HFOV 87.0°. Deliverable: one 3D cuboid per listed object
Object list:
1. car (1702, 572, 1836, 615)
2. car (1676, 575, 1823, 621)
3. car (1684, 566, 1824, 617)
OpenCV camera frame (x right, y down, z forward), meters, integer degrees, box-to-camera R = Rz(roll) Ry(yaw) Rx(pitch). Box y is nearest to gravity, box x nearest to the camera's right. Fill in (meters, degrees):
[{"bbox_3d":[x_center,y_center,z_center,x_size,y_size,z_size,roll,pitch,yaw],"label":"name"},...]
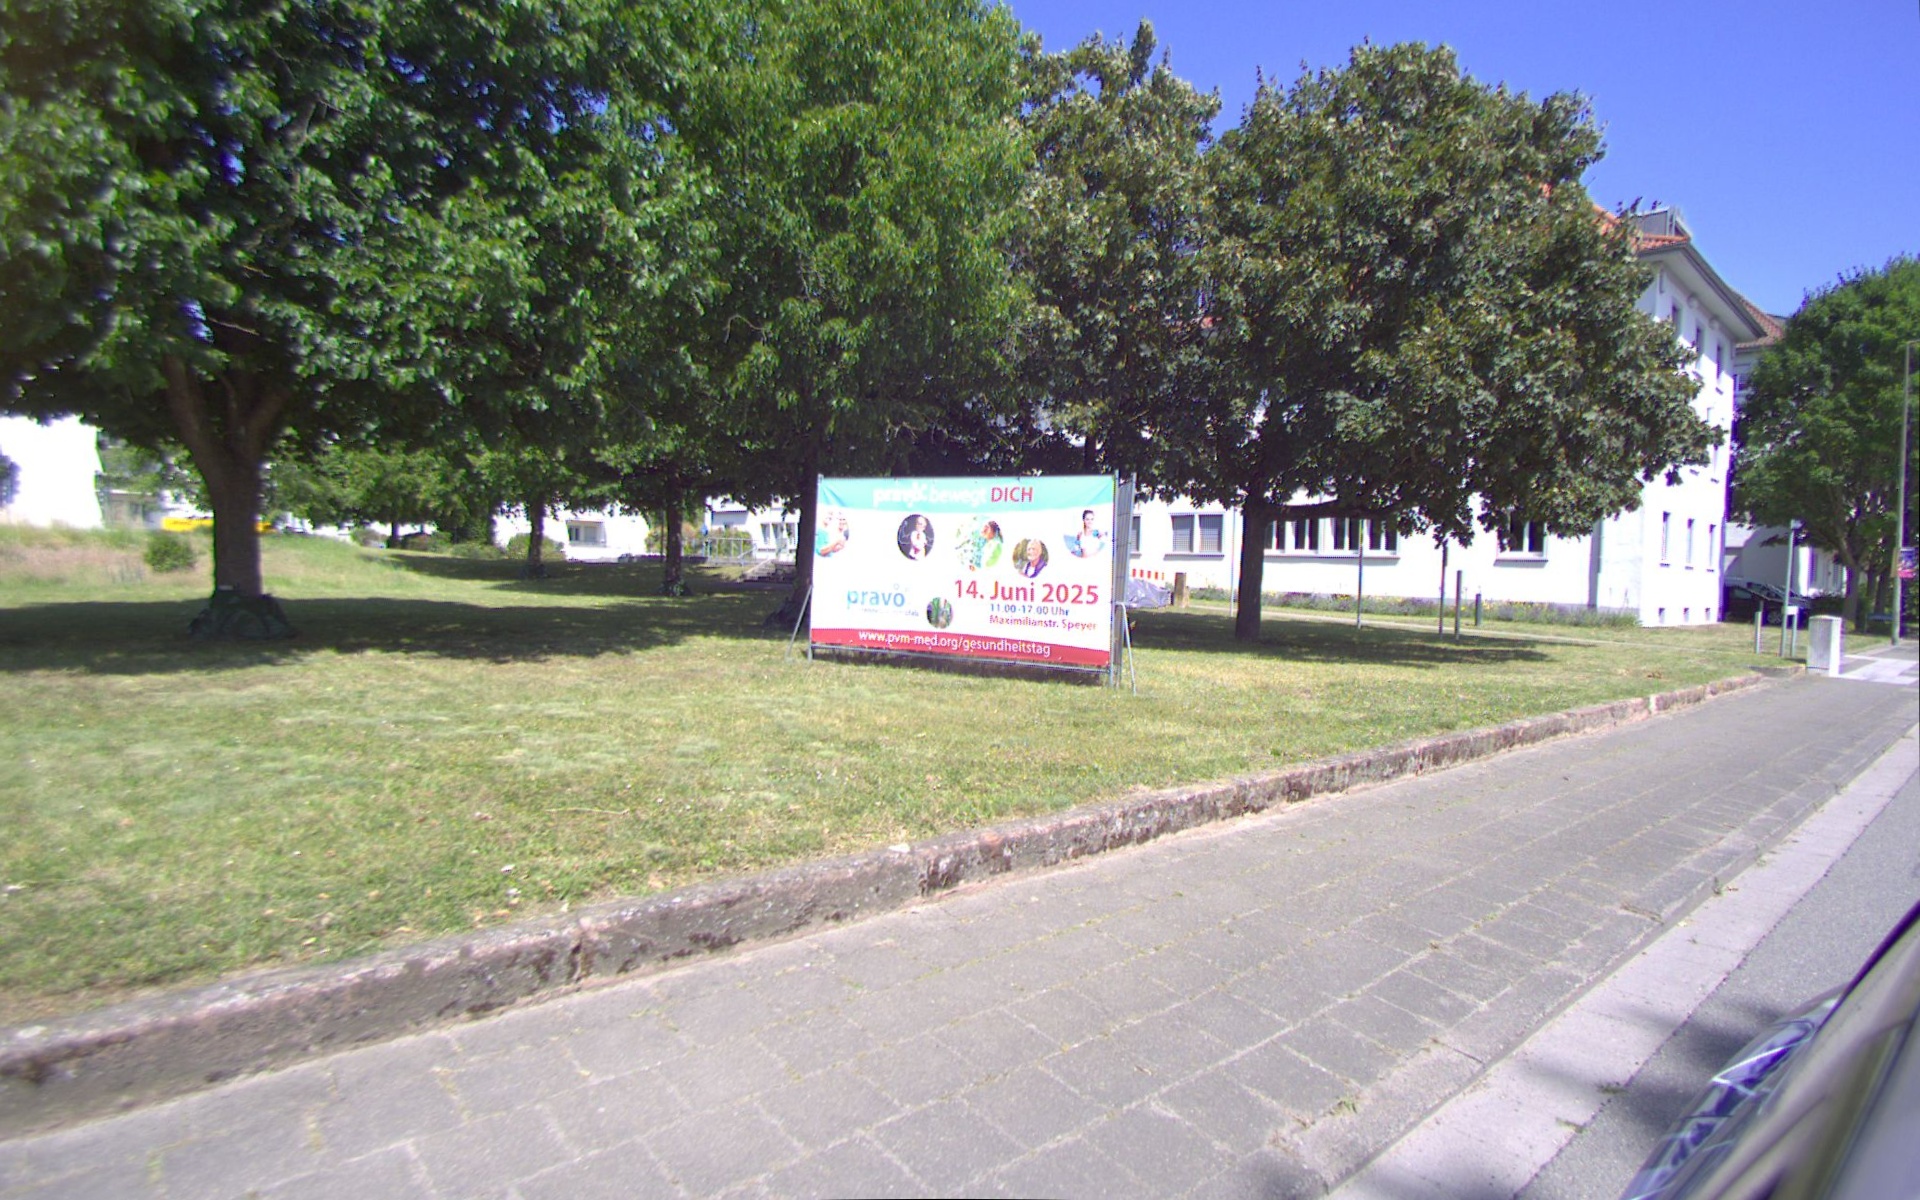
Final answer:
[{"bbox_3d":[35.743,-0.308,44.780,1.967,1.544,4.360,0,4,-45],"label":"car"},{"bbox_3d":[31.521,-0.113,40.465,1.968,1.452,4.360,0,4,-45],"label":"car"},{"bbox_3d":[33.325,-0.391,42.557,1.967,1.808,4.360,0,4,-45],"label":"car"}]
